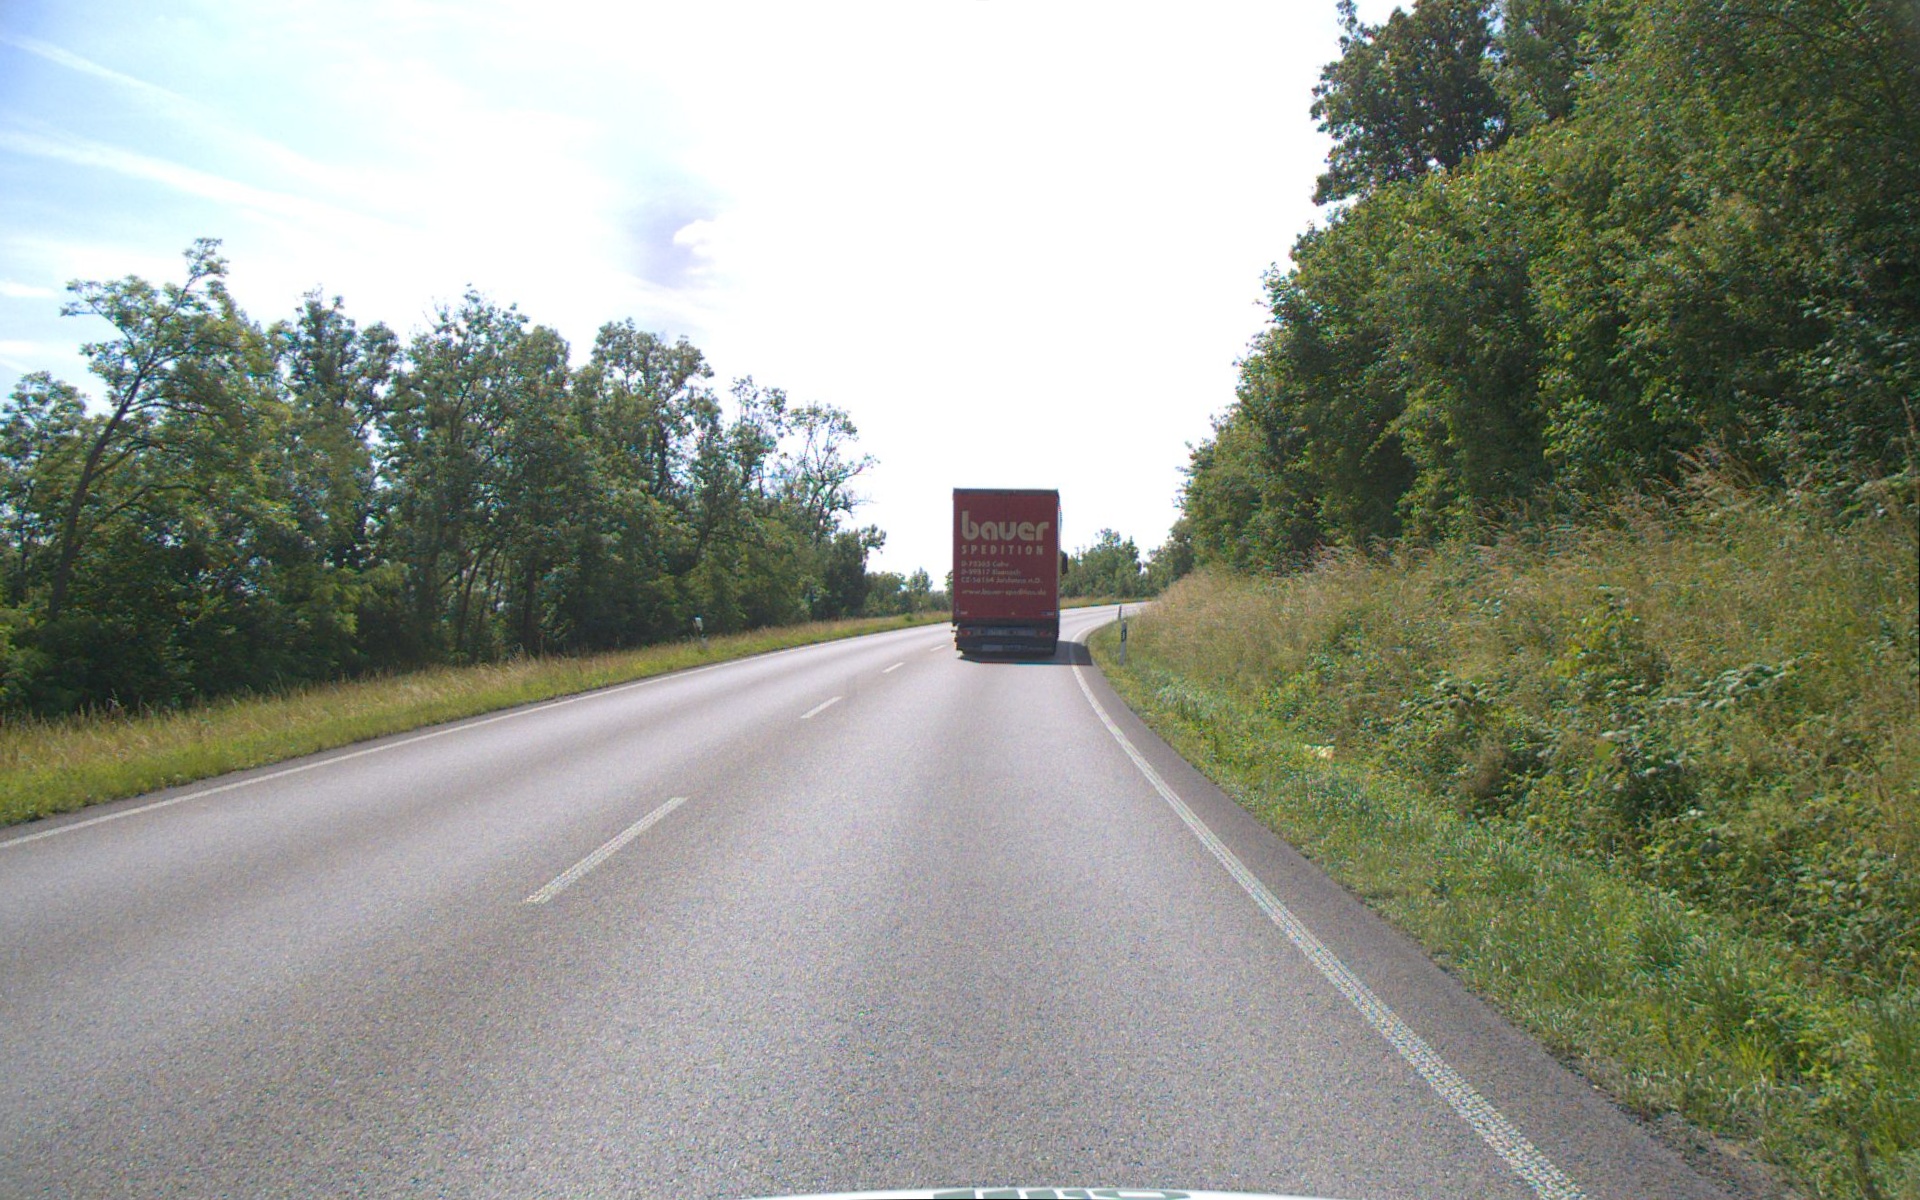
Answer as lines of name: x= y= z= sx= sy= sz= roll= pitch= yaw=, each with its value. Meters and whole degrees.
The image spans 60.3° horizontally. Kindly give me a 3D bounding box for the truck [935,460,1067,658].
truck: x=1.277 y=-0.970 z=44.649 sx=3.047 sy=4.584 sz=12.172 roll=0 pitch=0 yaw=3
